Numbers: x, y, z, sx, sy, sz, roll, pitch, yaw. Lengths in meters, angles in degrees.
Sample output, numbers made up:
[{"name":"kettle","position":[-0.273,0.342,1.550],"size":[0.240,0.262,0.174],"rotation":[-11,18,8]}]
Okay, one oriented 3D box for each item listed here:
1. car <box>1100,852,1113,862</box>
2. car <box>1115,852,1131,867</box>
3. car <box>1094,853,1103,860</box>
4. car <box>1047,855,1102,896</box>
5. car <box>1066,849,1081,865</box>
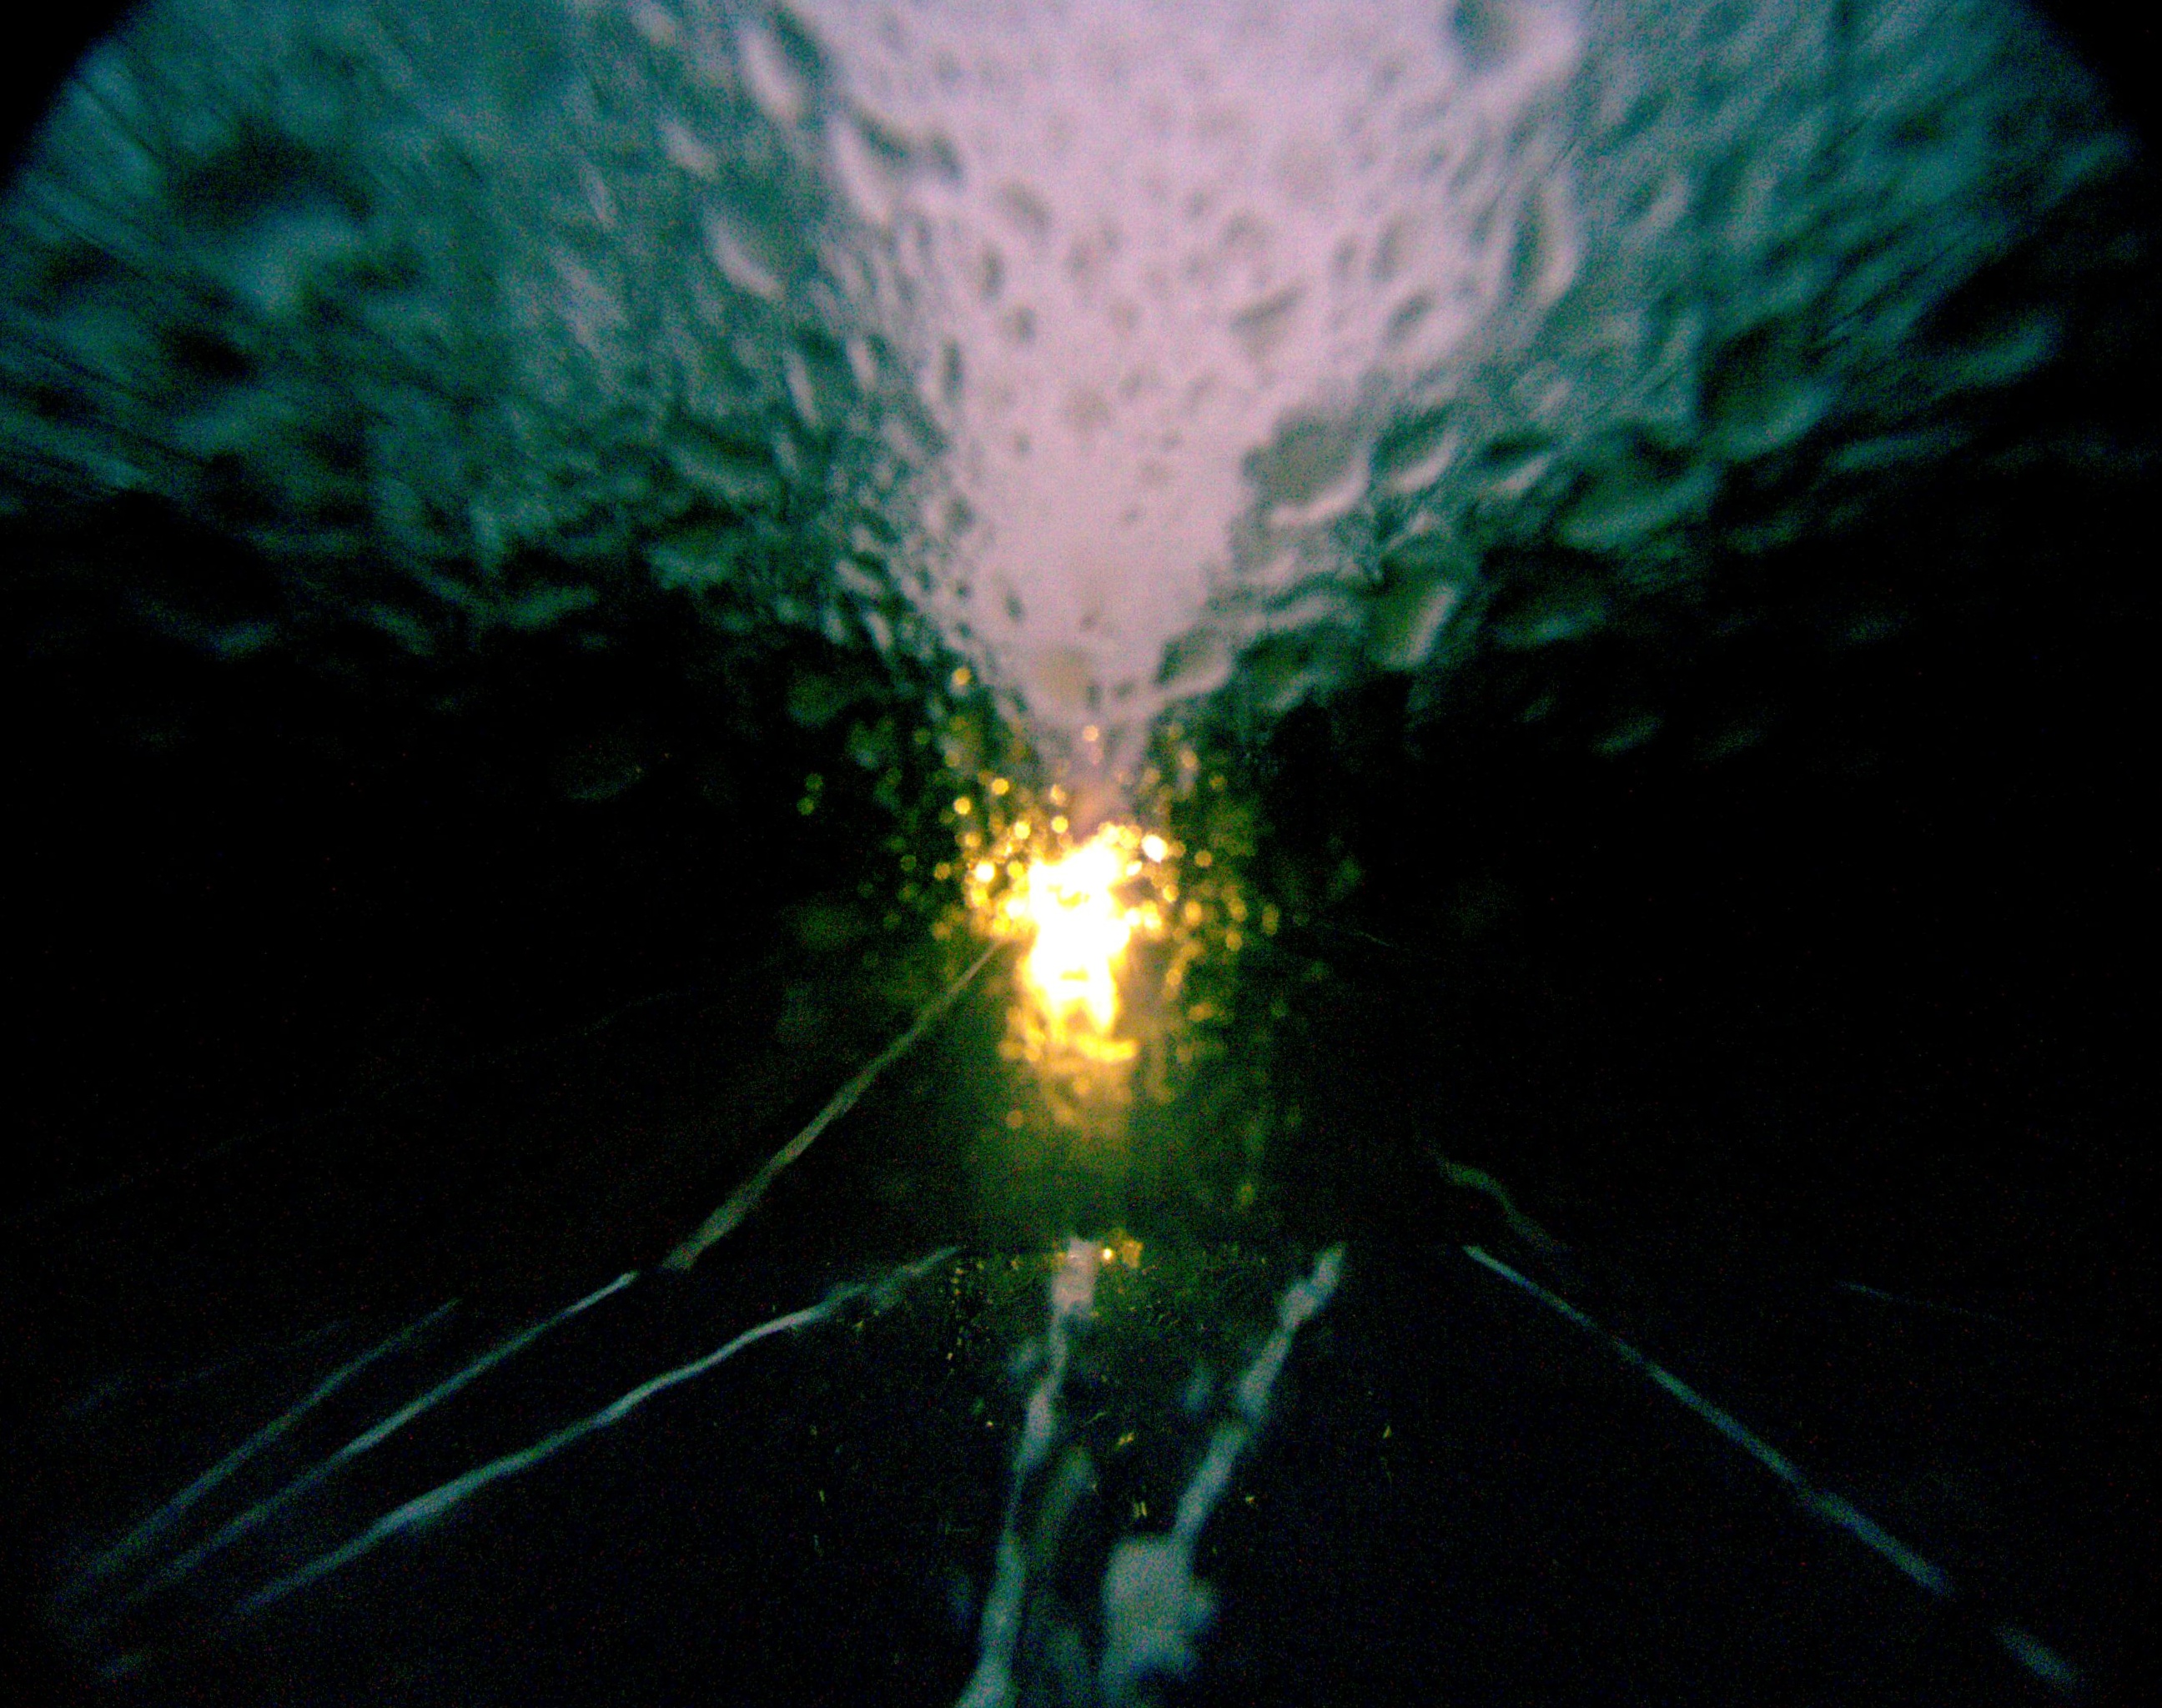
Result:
[{"name":"car","position":[4.353,0.500,129.754],"size":[1.998,1.652,3.999],"rotation":[-2,1,1]},{"name":"car","position":[5.775,0.711,105.224],"size":[1.998,2.002,3.999],"rotation":[-2,1,1]},{"name":"car","position":[4.249,0.567,181.261],"size":[1.998,1.652,4.570],"rotation":[-2,1,1]},{"name":"car","position":[-0.168,0.739,28.025],"size":[1.845,1.390,4.000],"rotation":[-1,0,2]},{"name":"car","position":[-1.020,0.405,104.359],"size":[1.998,2.002,3.999],"rotation":[-2,1,1]}]
